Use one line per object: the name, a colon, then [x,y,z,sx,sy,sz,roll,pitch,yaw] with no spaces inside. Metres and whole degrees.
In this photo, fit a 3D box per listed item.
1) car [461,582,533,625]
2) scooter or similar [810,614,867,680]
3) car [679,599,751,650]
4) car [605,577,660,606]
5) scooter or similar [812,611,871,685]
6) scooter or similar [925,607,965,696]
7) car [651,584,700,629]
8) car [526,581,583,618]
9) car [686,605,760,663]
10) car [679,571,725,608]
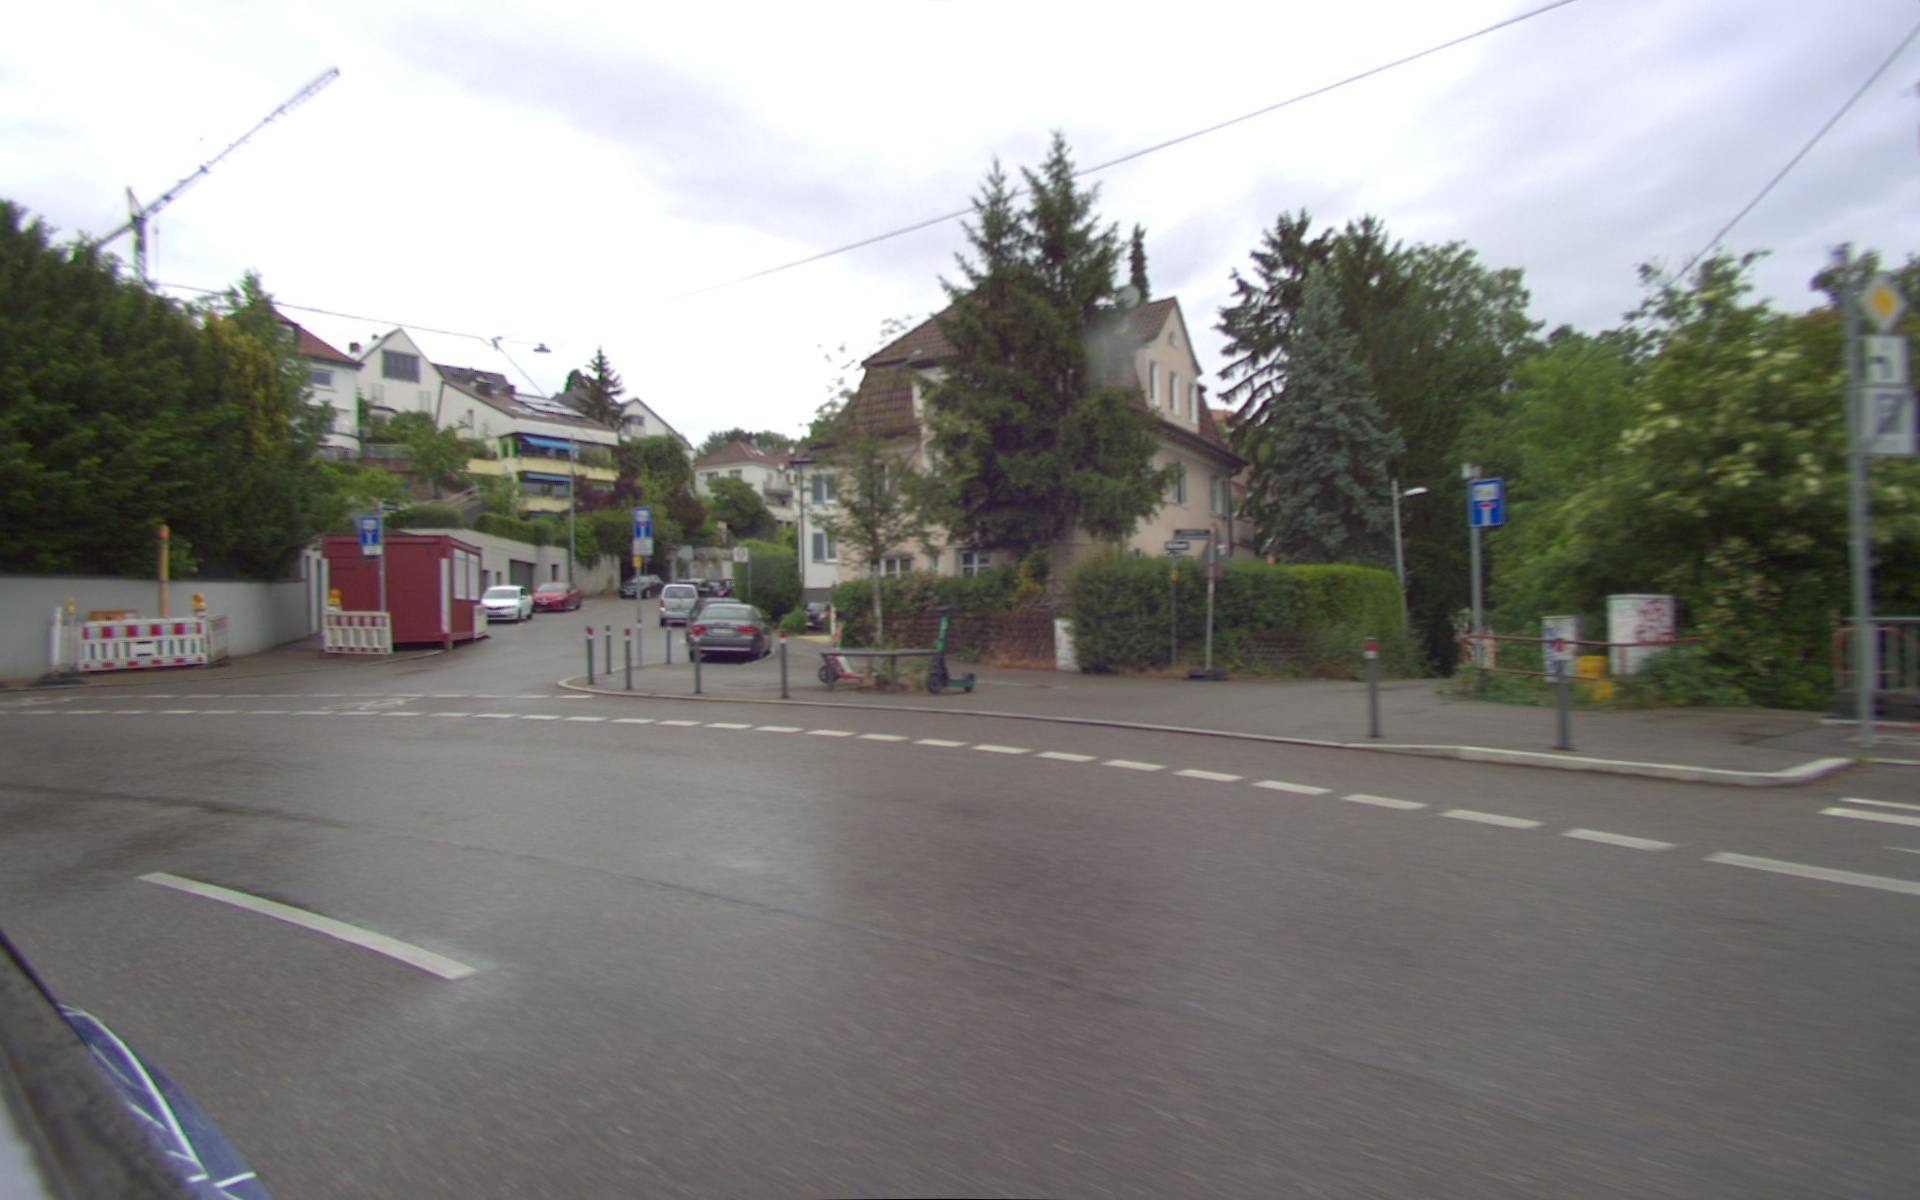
car: [-19.107,0.093,41.956,1.967,1.674,4.011,1,1,-13]
scooter or similar: [-2.092,0.798,17.490,1.021,1.077,0.244,-1,0,-41]
car: [-7.552,0.696,30.957,1.646,1.413,4.218,0,0,-20]
car: [-20.436,-0.565,63.345,1.858,1.504,3.997,-4,2,3]
scooter or similar: [-1.942,0.773,16.724,1.021,1.173,0.244,-1,0,-43]
scooter or similar: [-0.206,0.725,14.635,0.241,1.227,1.030,0,0,19]
car: [-11.881,0.246,42.072,1.843,1.674,4.013,1,2,-17]
car: [-20.104,0.005,50.276,1.844,1.674,4.008,0,-2,-10]
car: [-5.899,0.789,25.547,1.648,1.276,4.214,0,0,-11]
car: [-12.959,-0.536,50.718,1.966,1.718,4.013,1,2,-18]
